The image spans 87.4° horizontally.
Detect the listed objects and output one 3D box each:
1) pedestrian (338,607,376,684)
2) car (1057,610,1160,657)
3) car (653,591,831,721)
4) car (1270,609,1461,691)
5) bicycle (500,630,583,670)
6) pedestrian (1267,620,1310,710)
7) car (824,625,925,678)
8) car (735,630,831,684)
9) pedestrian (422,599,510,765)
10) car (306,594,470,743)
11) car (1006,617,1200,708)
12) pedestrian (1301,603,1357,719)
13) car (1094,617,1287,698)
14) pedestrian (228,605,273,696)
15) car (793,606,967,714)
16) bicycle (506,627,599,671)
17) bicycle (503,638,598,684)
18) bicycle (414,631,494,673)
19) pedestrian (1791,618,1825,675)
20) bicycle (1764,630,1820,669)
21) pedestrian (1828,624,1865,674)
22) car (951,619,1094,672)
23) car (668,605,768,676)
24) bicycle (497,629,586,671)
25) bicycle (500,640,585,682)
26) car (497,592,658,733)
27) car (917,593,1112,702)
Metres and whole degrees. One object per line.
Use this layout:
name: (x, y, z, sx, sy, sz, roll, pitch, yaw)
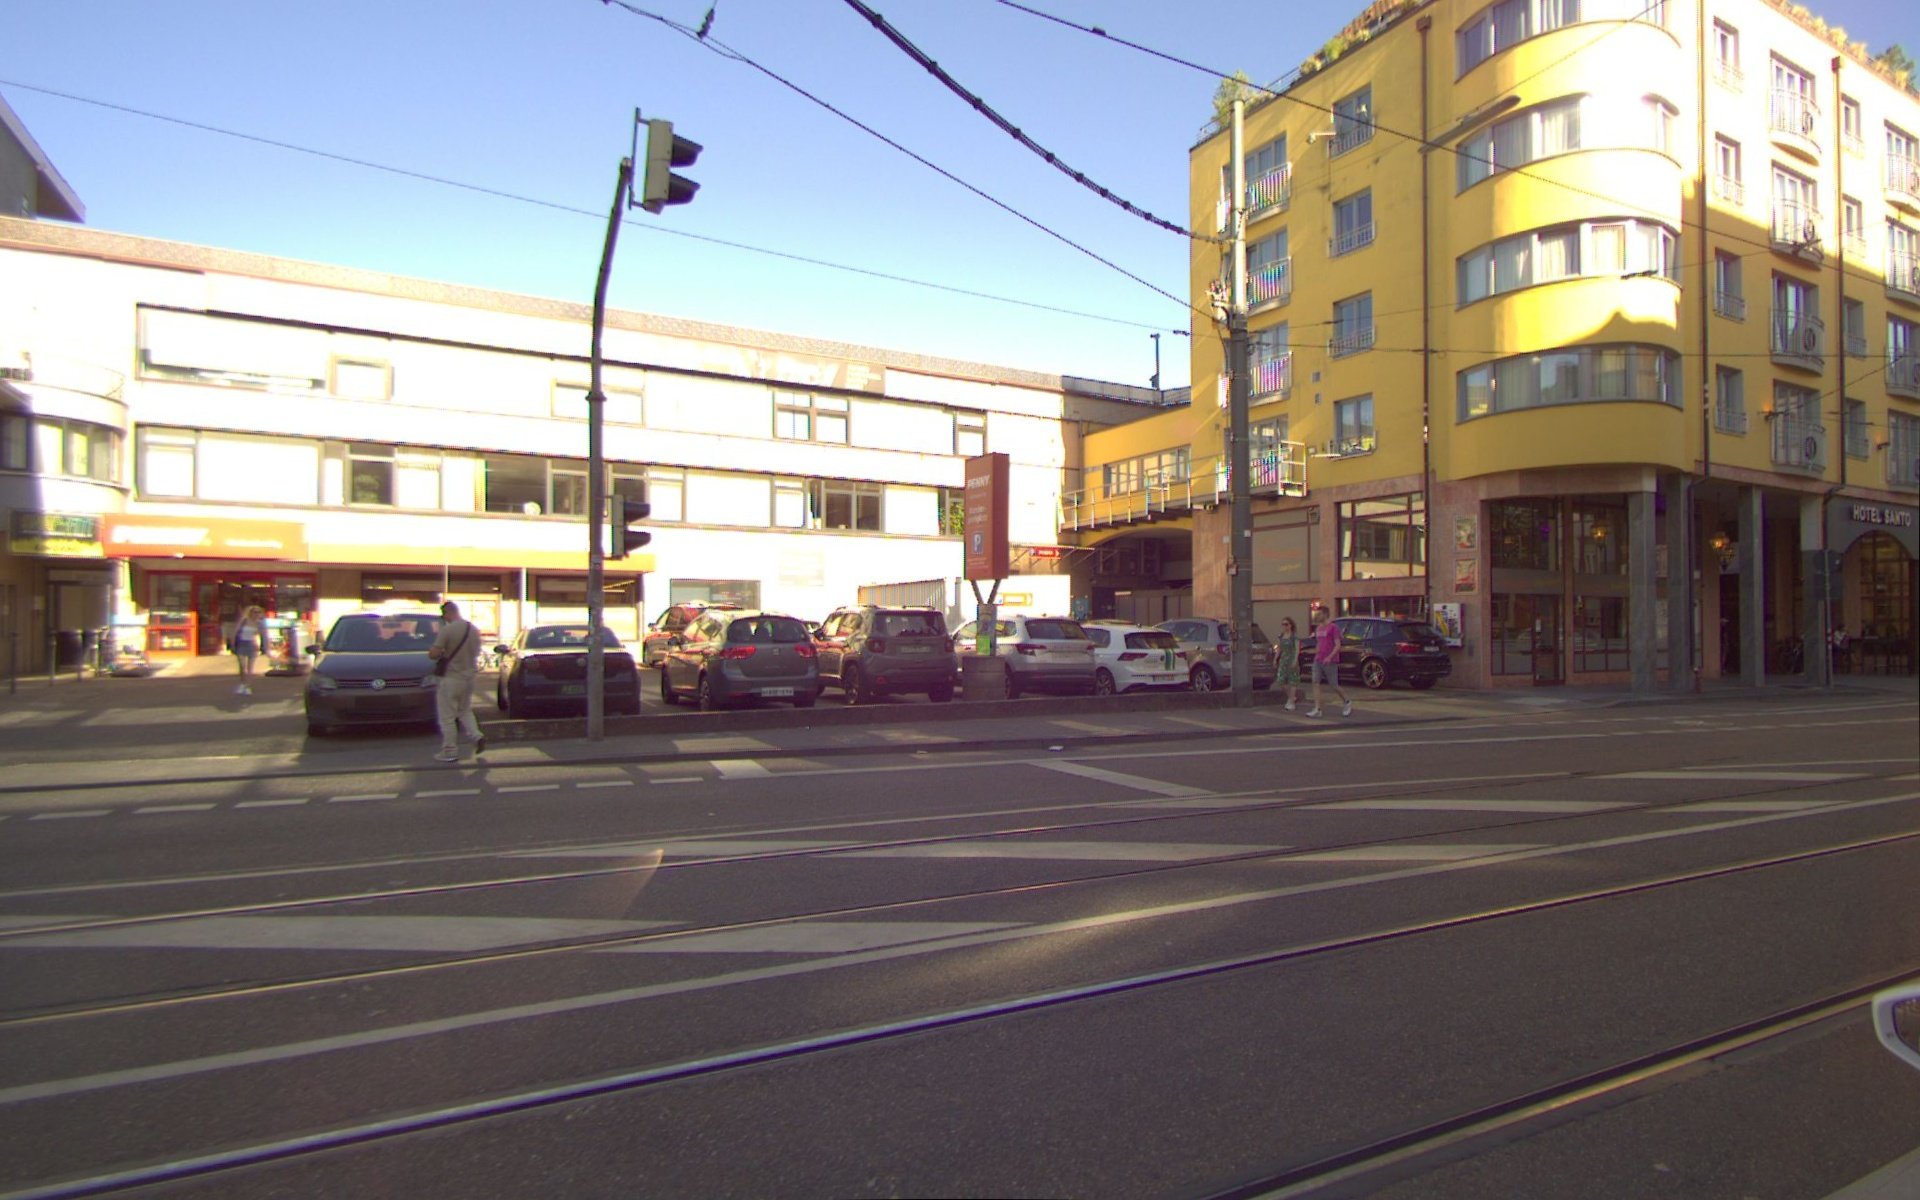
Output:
pedestrian: (-13.221, 0.989, 22.028, 0.683, 1.655, 0.635, 0, -1, -30)
car: (5.089, 1.138, 34.754, 1.676, 1.499, 3.560, 0, -1, -31)
car: (-3.695, 0.844, 16.434, 1.763, 1.836, 4.216, 1, -1, -28)
car: (9.860, 1.172, 24.742, 1.763, 1.836, 4.216, 1, -1, -29)
bicycle: (-11.361, 1.346, 27.313, 2.040, 1.028, 0.501, 1, -1, -32)
pedestrian: (6.093, 1.192, 18.632, 0.493, 1.638, 0.569, 0, -1, -30)
car: (-2.636, 1.496, 30.342, 1.676, 1.499, 3.560, 1, -2, -31)
car: (-5.253, 1.670, 29.521, 1.608, 1.501, 3.619, 3, -4, -31)
pedestrian: (-5.604, 0.894, 11.388, 0.773, 1.787, 0.708, 1, 0, -36)
car: (-8.062, 0.844, 14.310, 1.763, 1.787, 4.215, 0, -1, -29)
car: (2.767, 1.184, 20.386, 1.763, 1.630, 4.216, 1, -2, -29)
pedestrian: (6.446, 1.046, 17.553, 0.701, 1.972, 0.634, 1, -1, -31)
car: (4.898, 1.248, 21.900, 1.764, 1.568, 4.216, 3, -4, -29)
pedestrian: (-13.671, 0.962, 19.374, 0.646, 1.718, 0.478, 1, -1, -31)
car: (-1.529, 0.985, 17.842, 1.763, 1.695, 3.674, 0, -1, -28)
bicycle: (-9.941, 1.185, 24.548, 2.040, 1.028, 0.510, 1, -1, -32)
bicycle: (-9.722, 1.441, 23.891, 2.040, 1.028, 0.507, 1, -1, -32)
bicycle: (-12.778, 1.312, 25.411, 1.801, 1.028, 0.366, 0, -1, -26)
pedestrian: (26.732, 1.463, 31.675, 0.713, 1.793, 0.559, 1, -1, -25)
bicycle: (26.863, 1.575, 32.433, 2.052, 1.218, 0.580, 1, -1, -25)
pedestrian: (28.360, 1.566, 32.137, 0.593, 1.568, 0.703, 1, -1, -25)
car: (1.855, 1.296, 29.617, 3.955, 1.473, 1.770, 1, -1, -32)
car: (-6.640, 1.067, 27.349, 1.676, 1.772, 3.560, 0, -1, -31)
bicycle: (-10.641, 1.255, 25.588, 2.040, 1.028, 0.501, 1, -1, -32)
bicycle: (-11.038, 1.601, 26.609, 2.040, 1.028, 0.492, 1, -1, -32)
car: (-5.967, 0.870, 15.373, 1.763, 1.836, 4.216, 1, -1, -29)
car: (0.909, 0.922, 19.176, 1.764, 1.835, 4.216, 3, -4, -29)
